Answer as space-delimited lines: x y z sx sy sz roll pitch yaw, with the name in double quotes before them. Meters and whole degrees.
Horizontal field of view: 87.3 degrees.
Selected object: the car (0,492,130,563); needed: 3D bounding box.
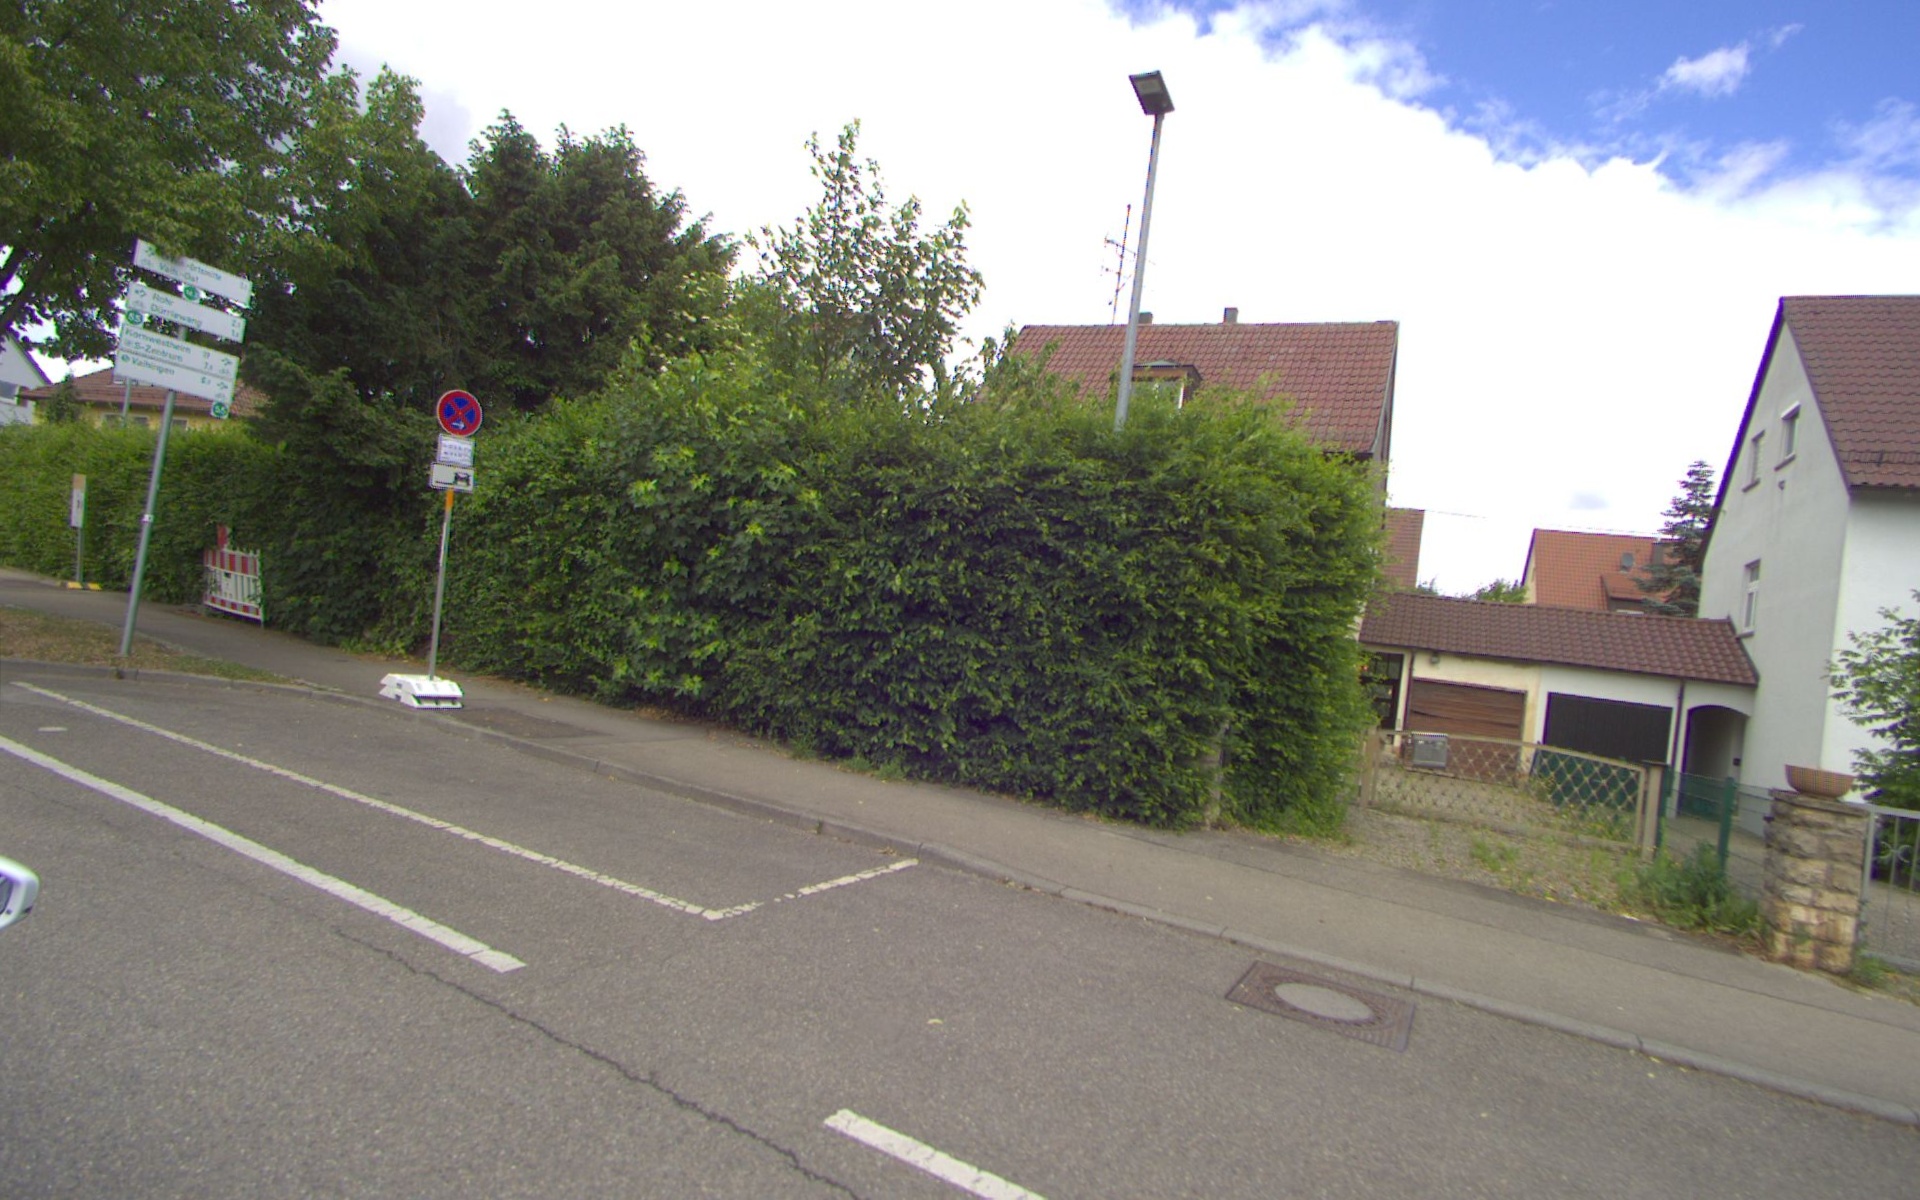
"car" -29.161 -2.379 31.531 1.622 1.679 4.411 7 -3 29
